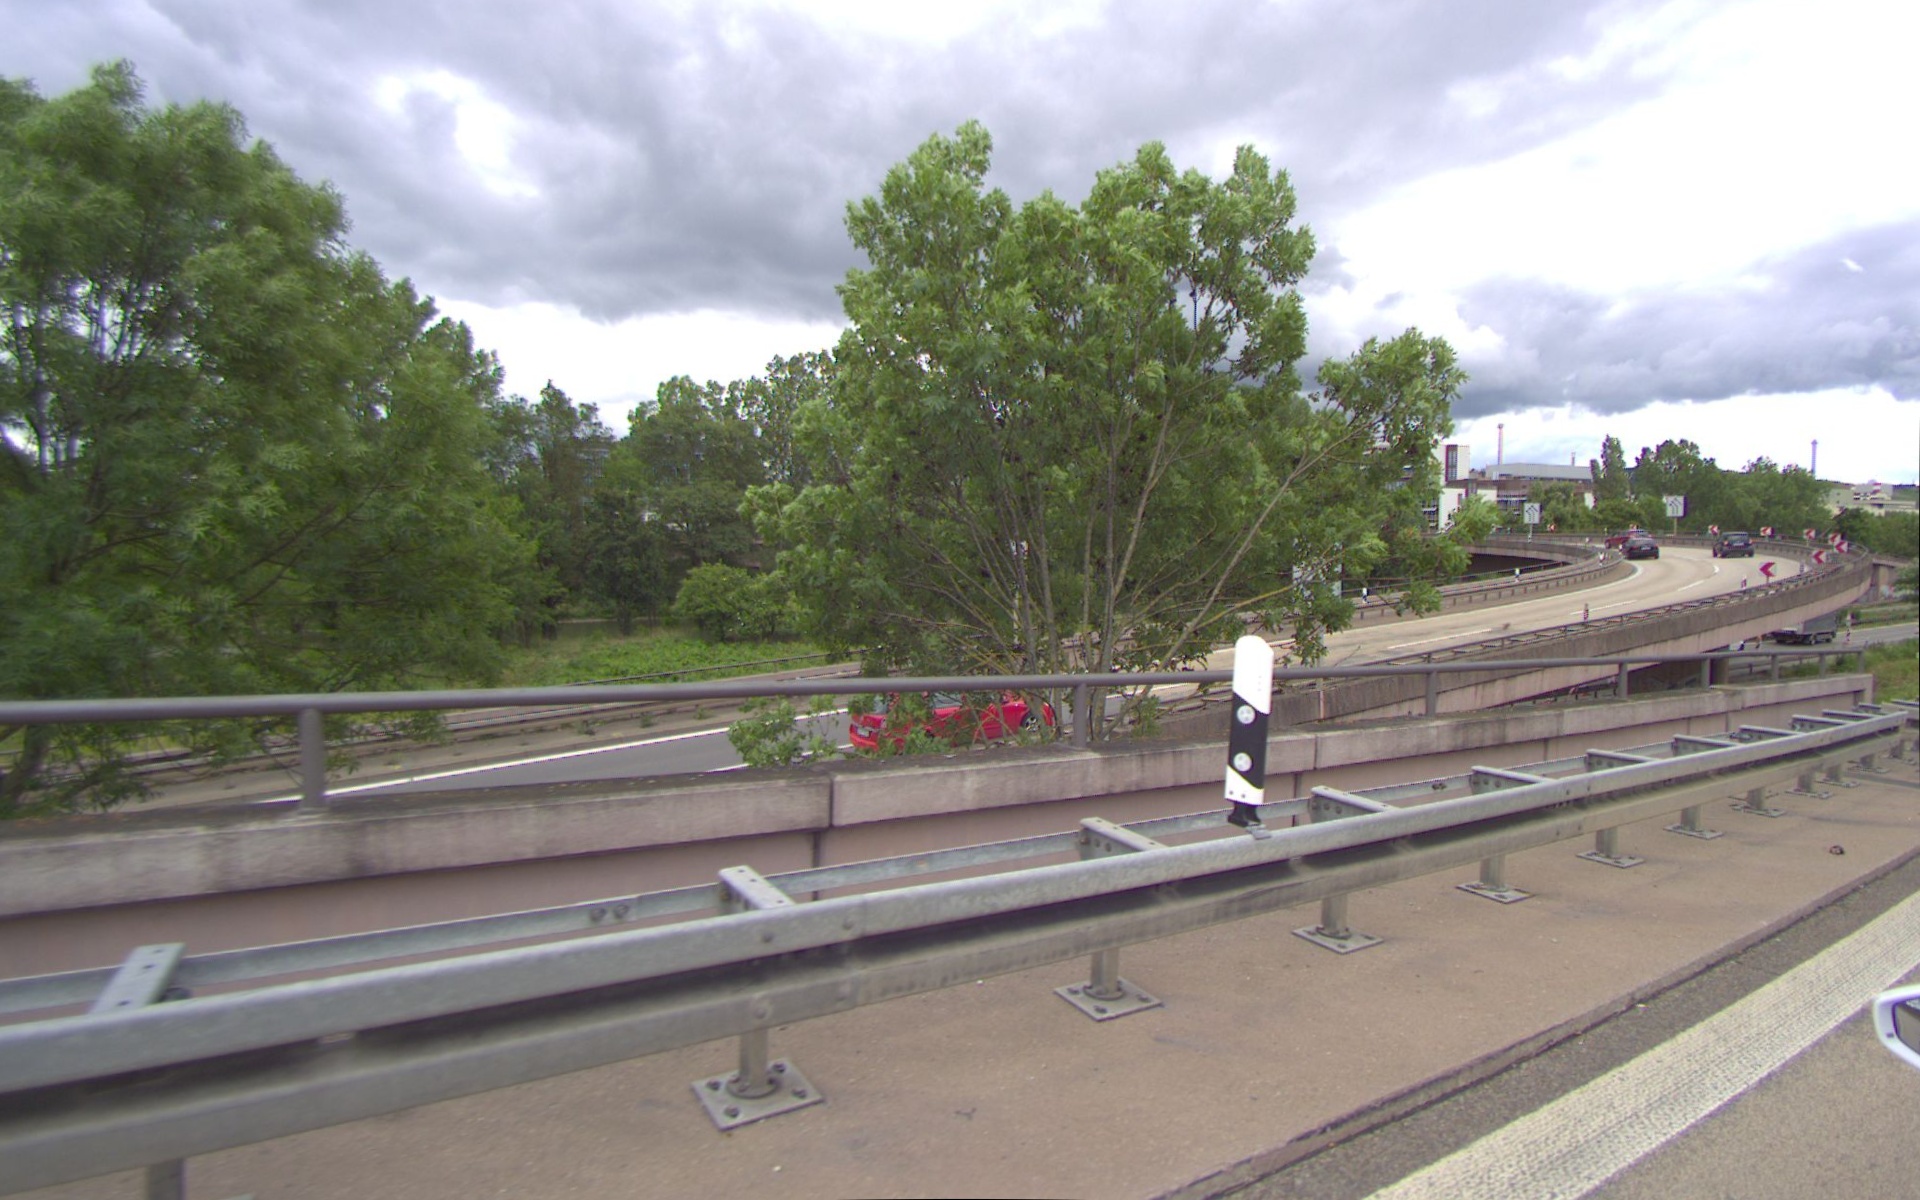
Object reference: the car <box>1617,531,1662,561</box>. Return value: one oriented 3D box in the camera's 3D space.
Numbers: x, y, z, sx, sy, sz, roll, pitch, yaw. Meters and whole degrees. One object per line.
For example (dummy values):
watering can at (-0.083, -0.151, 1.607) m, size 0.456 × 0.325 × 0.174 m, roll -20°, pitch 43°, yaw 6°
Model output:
car at (46.067, -3.632, 68.177) m, size 1.963 × 1.795 × 3.995 m, roll 3°, pitch 1°, yaw 27°

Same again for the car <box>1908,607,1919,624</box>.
car at (100.354, 1.610, 104.314) m, size 3.961 × 1.640 × 1.979 m, roll -2°, pitch 4°, yaw -36°

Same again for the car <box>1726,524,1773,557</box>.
car at (49.747, -3.707, 63.251) m, size 1.972 × 1.795 × 3.978 m, roll 3°, pitch 1°, yaw 43°

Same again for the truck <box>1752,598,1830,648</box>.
truck at (68.310, 1.822, 82.510) m, size 7.321 × 3.706 × 3.030 m, roll -1°, pitch 4°, yaw -35°

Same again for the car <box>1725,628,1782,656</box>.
car at (59.067, 3.122, 74.760) m, size 4.054 × 1.736 × 1.982 m, roll -1°, pitch 4°, yaw -32°
